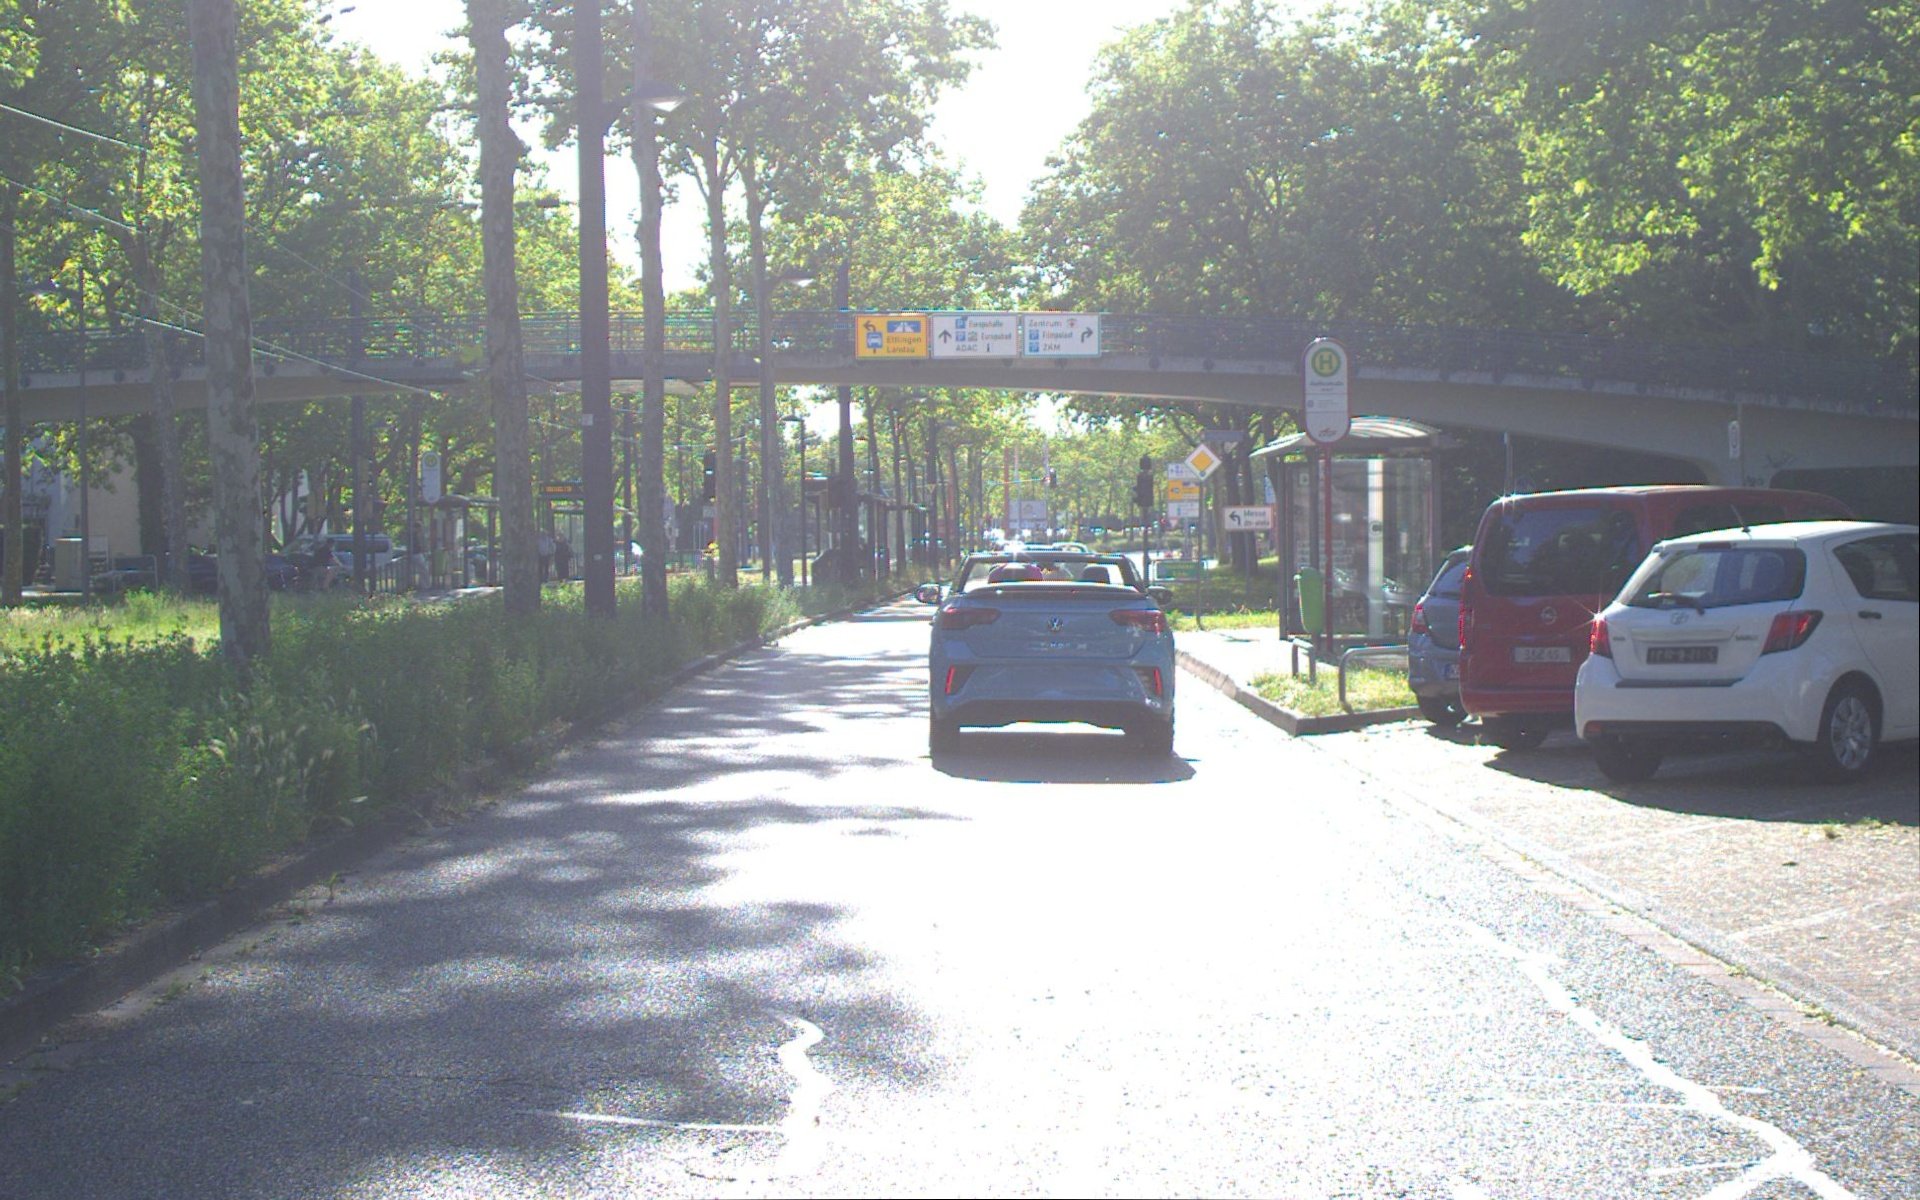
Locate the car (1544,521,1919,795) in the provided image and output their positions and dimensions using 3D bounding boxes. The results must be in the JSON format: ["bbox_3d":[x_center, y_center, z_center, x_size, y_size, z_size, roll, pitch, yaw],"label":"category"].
[{"bbox_3d":[5.381,0.285,21.037,3.617,1.490,1.681,-3,1,-43],"label":"car"}]

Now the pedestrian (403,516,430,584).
[{"bbox_3d":[-14.182,-1.312,89.743,0.502,1.764,0.484,0,0,-39],"label":"pedestrian"}]

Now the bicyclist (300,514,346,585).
[{"bbox_3d":[-14.747,-1.175,79.642,0.953,1.626,0.815,1,2,-5],"label":"bicyclist"}]

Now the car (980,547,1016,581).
[{"bbox_3d":[1.815,-1.732,163.979,1.710,1.598,3.350,0,1,1],"label":"car"}]

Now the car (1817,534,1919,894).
[{"bbox_3d":[5.452,0.392,15.039,1.681,1.453,3.736,-1,1,43],"label":"car"}]

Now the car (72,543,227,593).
[{"bbox_3d":[-24.306,-0.969,103.115,4.187,1.423,1.700,0,2,-37],"label":"car"}]

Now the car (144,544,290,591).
[{"bbox_3d":[-23.673,-1.021,109.621,4.187,1.423,1.700,0,2,-37],"label":"car"}]

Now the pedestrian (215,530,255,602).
[{"bbox_3d":[-17.018,-0.803,80.703,0.725,1.668,1.049,1,0,-2],"label":"pedestrian"}]

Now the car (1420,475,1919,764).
[{"bbox_3d":[5.235,0.085,24.410,3.941,1.836,1.768,-3,1,-43],"label":"car"}]

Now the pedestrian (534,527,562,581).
[{"bbox_3d":[-12.645,-1.414,105.444,0.713,1.629,0.731,-1,0,2],"label":"pedestrian"}]

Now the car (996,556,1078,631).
[{"bbox_3d":[1.934,-0.184,85.814,1.982,1.786,4.614,1,1,2],"label":"car"}]

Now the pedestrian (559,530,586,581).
[{"bbox_3d":[-11.766,-1.357,104.397,0.682,1.508,0.644,-2,1,3],"label":"pedestrian"}]

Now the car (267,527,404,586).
[{"bbox_3d":[-22.810,-1.589,125.625,4.486,2.056,1.900,0,2,-37],"label":"car"}]

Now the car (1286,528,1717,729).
[{"bbox_3d":[4.533,0.201,28.456,3.819,1.467,1.517,-3,1,-45],"label":"car"}]

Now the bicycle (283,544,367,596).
[{"bbox_3d":[-14.702,-0.706,79.636,1.830,1.143,0.815,1,2,-5],"label":"bicycle"}]

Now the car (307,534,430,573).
[{"bbox_3d":[-23.153,-1.830,134.637,1.899,1.498,4.489,2,2,43],"label":"car"}]

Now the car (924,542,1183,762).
[{"bbox_3d":[0.632,0.329,26.099,1.776,1.478,4.100,2,1,-1],"label":"car"}]
